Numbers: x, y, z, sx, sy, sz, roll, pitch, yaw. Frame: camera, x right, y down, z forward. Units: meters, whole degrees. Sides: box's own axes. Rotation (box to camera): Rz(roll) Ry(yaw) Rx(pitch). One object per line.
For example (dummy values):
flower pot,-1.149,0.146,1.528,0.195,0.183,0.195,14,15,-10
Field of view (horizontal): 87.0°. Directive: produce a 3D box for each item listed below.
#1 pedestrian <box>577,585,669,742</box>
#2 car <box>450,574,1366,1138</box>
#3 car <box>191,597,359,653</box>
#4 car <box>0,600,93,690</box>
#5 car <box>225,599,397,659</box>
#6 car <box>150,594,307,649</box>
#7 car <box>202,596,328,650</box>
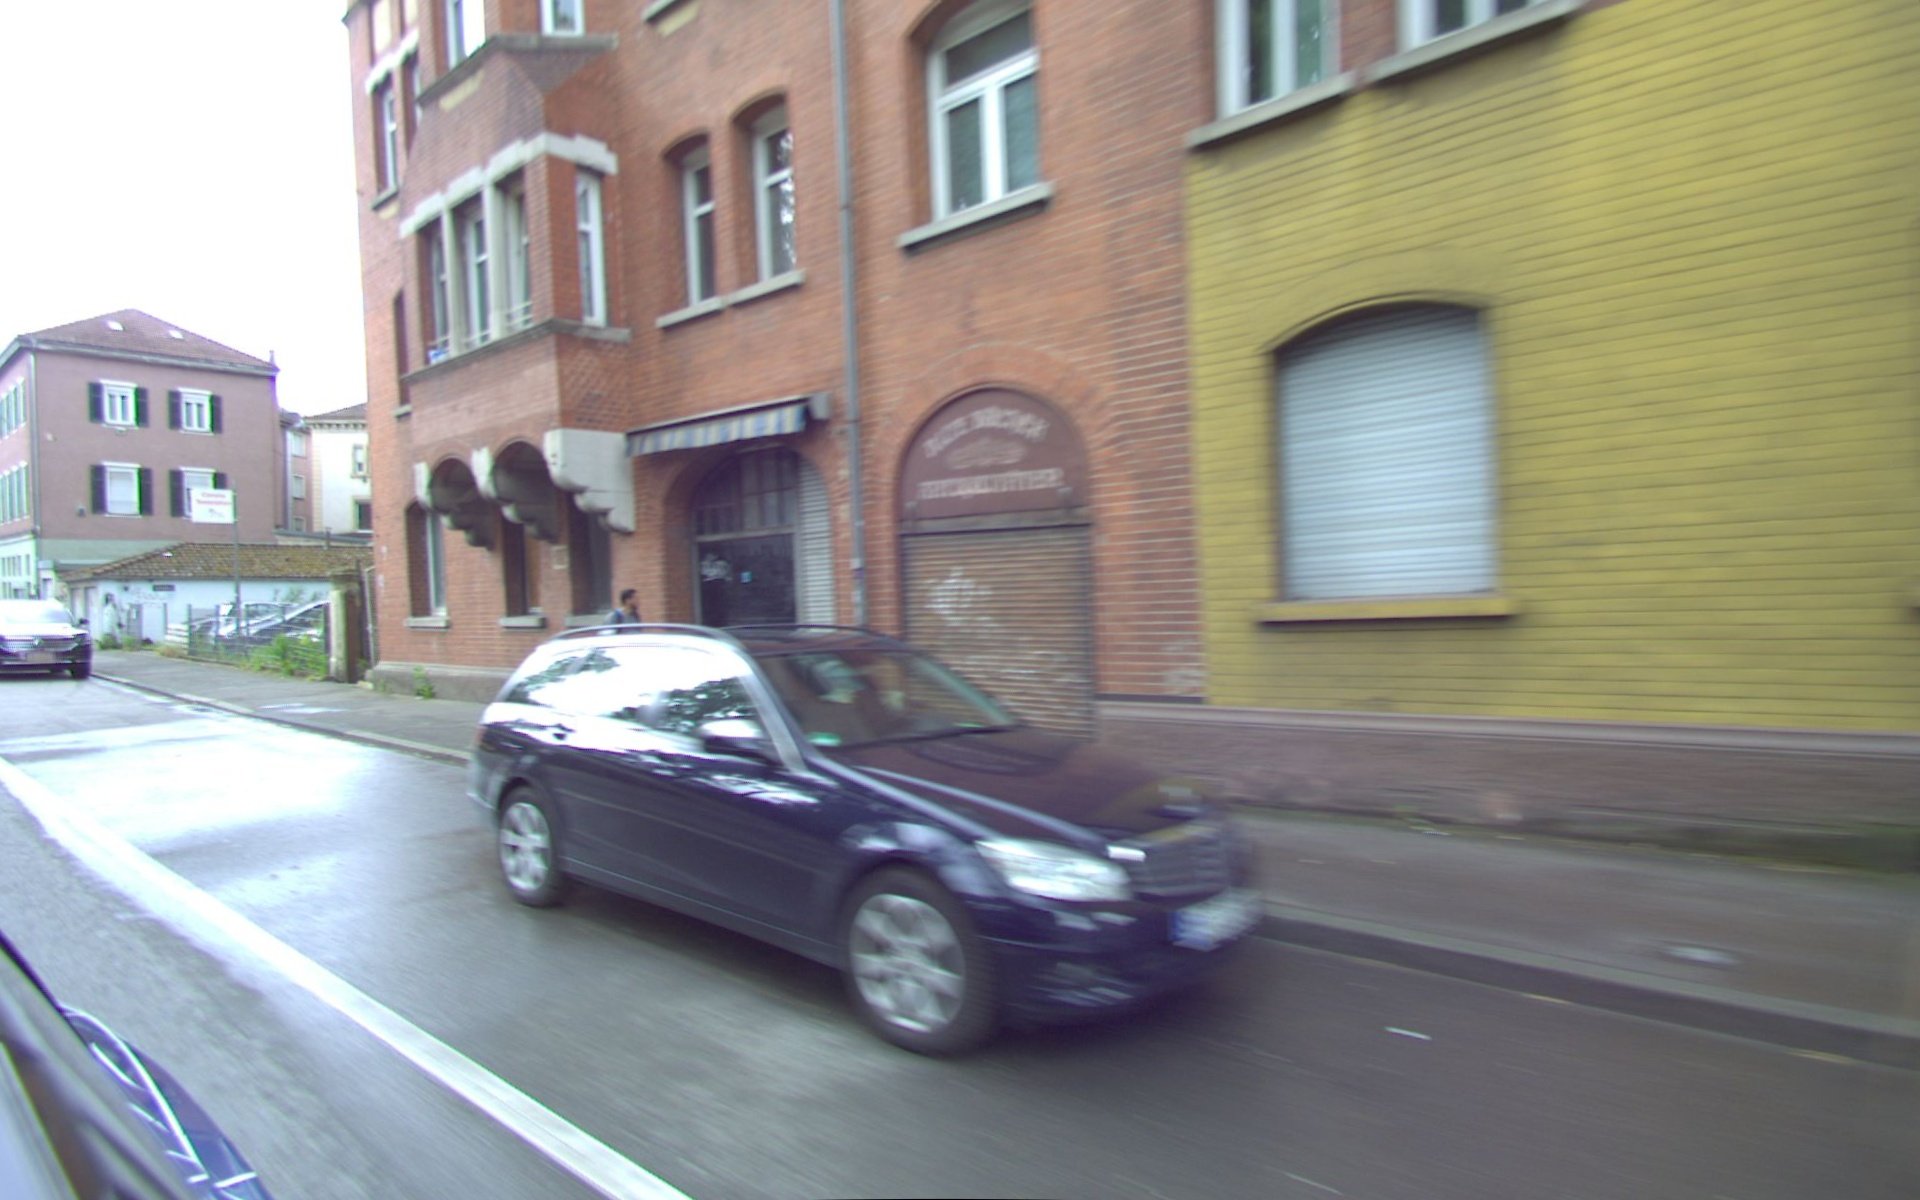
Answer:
pedestrian,-3.663,0.667,11.002,0.632,1.621,0.653,-2,1,41
car,-0.625,0.751,4.815,4.388,1.497,1.707,-3,-1,42
car,-19.839,0.699,29.411,1.852,1.516,3.684,0,-1,41
car,-20.541,0.934,21.946,4.770,1.747,1.934,-1,0,41
car,-17.489,0.750,27.371,1.852,1.516,3.559,0,-1,41
car,-23.172,0.670,32.152,1.852,1.655,3.723,0,-1,41
car,-21.236,0.684,30.974,1.852,1.577,2.818,0,-1,41
